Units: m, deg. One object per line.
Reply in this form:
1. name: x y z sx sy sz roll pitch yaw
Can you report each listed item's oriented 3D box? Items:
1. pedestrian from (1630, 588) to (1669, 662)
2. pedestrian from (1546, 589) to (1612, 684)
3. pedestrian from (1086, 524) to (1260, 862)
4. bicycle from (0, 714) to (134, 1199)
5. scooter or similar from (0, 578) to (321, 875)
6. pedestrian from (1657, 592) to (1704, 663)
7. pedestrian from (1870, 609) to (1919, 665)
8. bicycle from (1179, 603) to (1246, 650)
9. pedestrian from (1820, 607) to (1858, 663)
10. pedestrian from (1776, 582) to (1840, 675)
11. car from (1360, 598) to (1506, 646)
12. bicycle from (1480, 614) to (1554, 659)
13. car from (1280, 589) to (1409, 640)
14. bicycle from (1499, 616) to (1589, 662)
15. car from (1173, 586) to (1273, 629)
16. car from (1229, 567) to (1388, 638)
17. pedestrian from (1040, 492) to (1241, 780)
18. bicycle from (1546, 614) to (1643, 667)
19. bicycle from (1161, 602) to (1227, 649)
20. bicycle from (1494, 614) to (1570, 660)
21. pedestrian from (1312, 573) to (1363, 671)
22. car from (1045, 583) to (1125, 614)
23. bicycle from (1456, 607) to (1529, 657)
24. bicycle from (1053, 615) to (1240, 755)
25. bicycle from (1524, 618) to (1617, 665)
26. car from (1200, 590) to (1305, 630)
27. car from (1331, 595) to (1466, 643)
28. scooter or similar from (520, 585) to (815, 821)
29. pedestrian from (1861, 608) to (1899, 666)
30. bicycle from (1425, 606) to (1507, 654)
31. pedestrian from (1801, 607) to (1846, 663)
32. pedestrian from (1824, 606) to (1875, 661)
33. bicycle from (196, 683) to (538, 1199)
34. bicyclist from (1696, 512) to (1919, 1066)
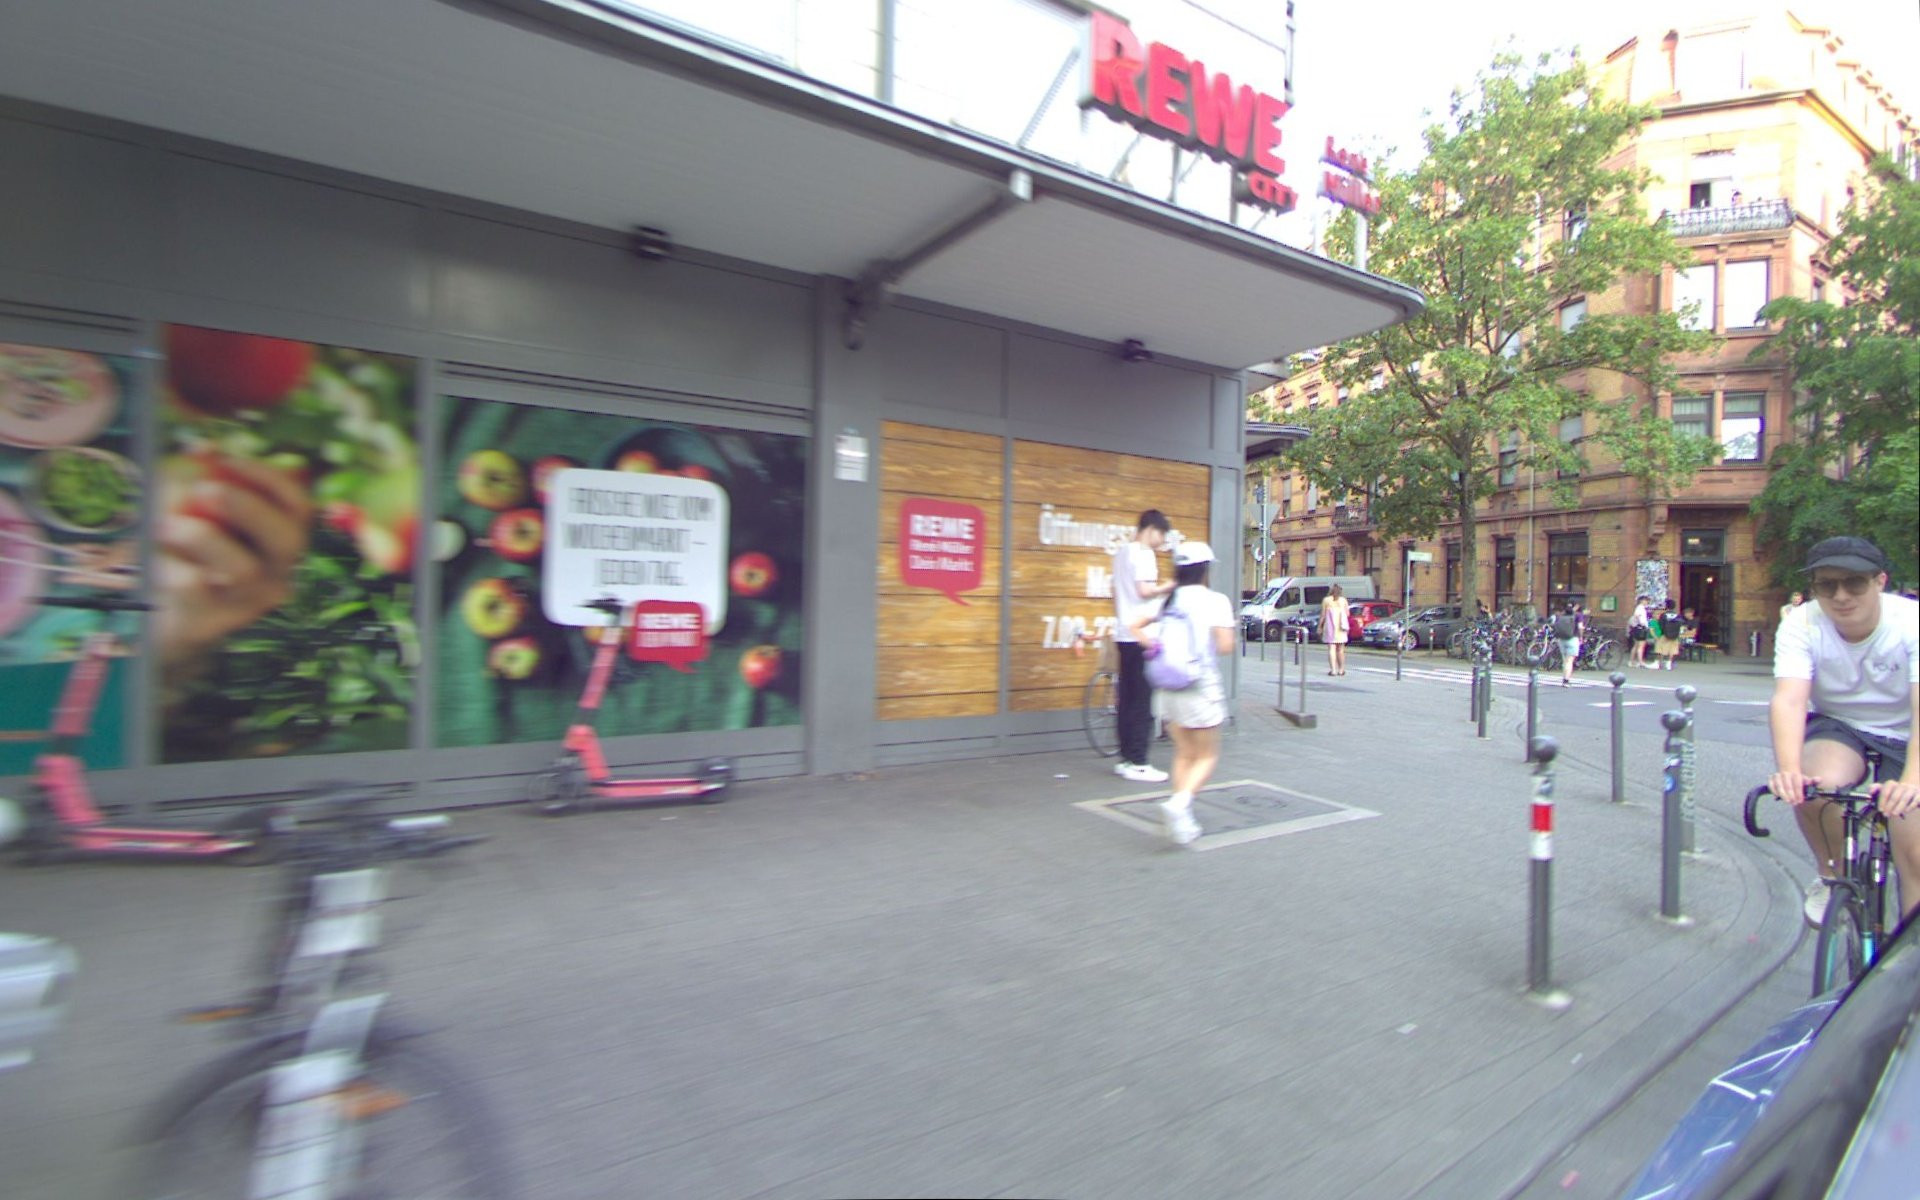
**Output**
1. pedestrian: 16.813 0.594 24.681 0.630 1.767 0.673 0 0 -43
2. pedestrian: 11.031 0.644 18.035 0.850 1.627 0.540 3 0 -23
3. pedestrian: 1.193 0.449 5.586 0.658 1.671 0.875 4 2 26
4. bicycle: -1.823 0.816 1.782 0.501 0.995 1.422 0 3 -37
5. scooter or similar: -3.585 0.529 4.475 1.140 1.219 0.538 2 0 -8
6. pedestrian: 17.037 0.643 23.953 0.629 1.658 0.674 0 0 2
7. pedestrian: 22.248 0.863 24.050 0.663 1.288 0.640 0 0 4
8. bicycle: 6.568 0.678 26.404 0.558 1.096 1.786 2 1 -30
9. pedestrian: 20.954 0.827 24.136 0.672 1.288 0.631 0 0 40
10. pedestrian: 17.592 0.576 20.999 0.891 1.892 0.676 0 0 -20
11. car: 14.704 0.658 31.541 3.894 1.438 1.631 0 0 -9
12. bicycle: 14.451 0.924 26.261 1.845 1.091 0.714 0 0 -24
13. car: 13.636 0.482 36.008 3.894 1.683 1.767 -1 1 -9
14. bicycle: 14.271 0.954 24.757 1.846 1.071 0.713 0 0 -8
15. car: 11.704 0.300 45.144 3.894 1.847 1.854 0 0 -9
16. car: 13.236 0.063 38.570 5.374 2.487 2.125 -1 1 -12
17. pedestrian: 1.321 0.231 7.427 1.167 1.935 0.764 1 2 -34
18. bicycle: 14.619 0.912 23.333 1.846 1.169 0.713 0 0 -8
19. bicycle: 6.004 0.651 26.091 0.558 1.096 1.786 2 1 -30
20. bicycle: 14.515 0.919 25.674 1.845 1.091 0.714 0 0 -24
21. pedestrian: 7.044 0.396 18.873 0.689 1.767 0.704 3 0 33
22. car: 8.307 -0.108 67.384 4.748 2.037 2.207 0 0 -14
23. bicycle: 14.066 0.836 26.720 1.845 1.255 0.714 0 0 -24
24. bicycle: 1.579 0.657 8.403 1.750 1.037 0.458 0 0 -36
25. bicycle: 14.495 0.976 24.035 1.846 1.065 0.713 0 0 -8
26. car: 12.469 0.405 43.202 3.894 1.683 1.767 0 0 -9
27. car: 14.712 0.615 34.025 3.894 1.521 1.631 0 0 -9
28. scooter or similar: -1.691 0.539 5.917 1.590 1.233 0.480 0 2 -27
29. pedestrian: 21.157 0.837 23.287 0.638 1.288 0.665 0 0 41
30. bicycle: 13.757 0.805 27.543 1.848 1.255 0.713 0 0 -2
31. pedestrian: 20.378 0.808 23.895 0.669 1.288 0.634 0 0 28
32. pedestrian: 21.629 0.806 24.613 0.627 1.288 0.676 0 0 -8
33. bicycle: -1.448 0.803 2.346 0.501 1.014 1.552 0 3 -37
34. bicyclist: 2.930 0.514 3.223 0.934 1.527 0.651 0 0 -32
